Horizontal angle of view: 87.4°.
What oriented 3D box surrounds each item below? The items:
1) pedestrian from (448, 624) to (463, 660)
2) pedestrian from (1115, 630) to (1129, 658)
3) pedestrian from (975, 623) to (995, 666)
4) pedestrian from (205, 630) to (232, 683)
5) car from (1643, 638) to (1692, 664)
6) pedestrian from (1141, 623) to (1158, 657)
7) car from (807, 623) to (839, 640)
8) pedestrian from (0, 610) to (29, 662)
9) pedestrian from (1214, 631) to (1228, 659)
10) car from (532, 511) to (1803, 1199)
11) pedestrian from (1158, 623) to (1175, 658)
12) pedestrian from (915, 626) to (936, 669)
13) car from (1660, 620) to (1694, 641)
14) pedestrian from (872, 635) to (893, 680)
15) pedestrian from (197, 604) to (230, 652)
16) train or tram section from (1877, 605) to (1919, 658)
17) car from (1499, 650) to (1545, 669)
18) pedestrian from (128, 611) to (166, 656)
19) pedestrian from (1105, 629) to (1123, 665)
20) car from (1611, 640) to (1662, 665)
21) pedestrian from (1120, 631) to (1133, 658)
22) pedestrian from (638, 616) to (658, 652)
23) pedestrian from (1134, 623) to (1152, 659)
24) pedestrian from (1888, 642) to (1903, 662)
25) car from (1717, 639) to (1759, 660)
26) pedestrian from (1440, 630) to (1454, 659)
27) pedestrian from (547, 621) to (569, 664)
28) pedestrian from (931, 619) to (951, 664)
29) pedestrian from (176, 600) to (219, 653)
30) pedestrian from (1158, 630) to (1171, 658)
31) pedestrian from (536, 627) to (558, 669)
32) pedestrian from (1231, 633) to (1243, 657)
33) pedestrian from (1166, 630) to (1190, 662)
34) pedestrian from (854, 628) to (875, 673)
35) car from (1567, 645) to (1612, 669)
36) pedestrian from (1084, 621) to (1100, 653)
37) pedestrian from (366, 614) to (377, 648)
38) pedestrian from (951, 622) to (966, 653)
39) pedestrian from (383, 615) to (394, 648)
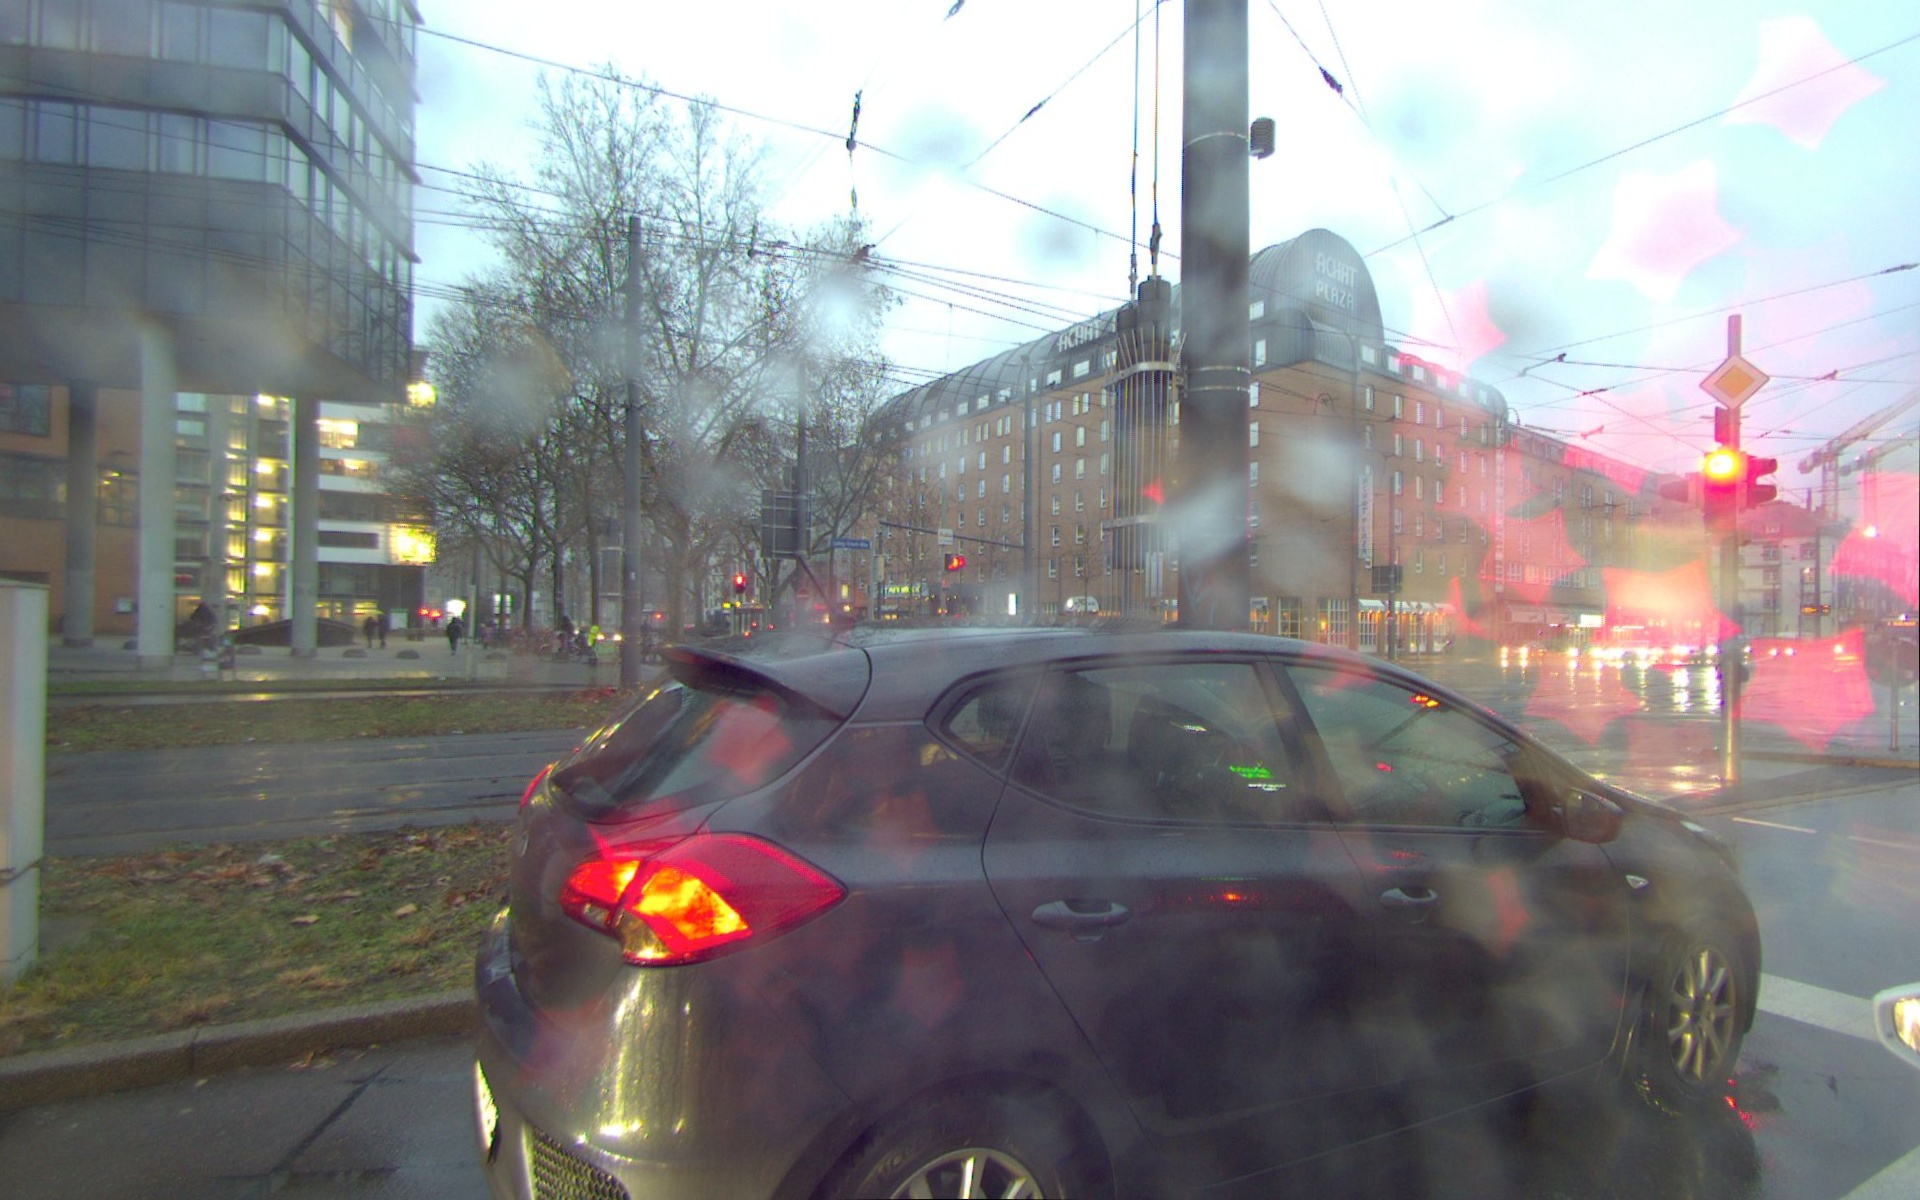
[{"bbox_3d":[-23.733,1.972,47.266,0.556,1.706,0.592,1,-1,-34],"label":"pedestrian"},{"bbox_3d":[9.044,2.446,56.103,0.566,1.558,0.517,1,-1,-21],"label":"pedestrian"},{"bbox_3d":[1.196,2.161,48.426,0.746,2.040,0.798,1,-1,-14],"label":"pedestrian"},{"bbox_3d":[-18.442,1.394,24.989,0.491,1.281,0.442,2,0,-34],"label":"pedestrian"},{"bbox_3d":[50.137,3.607,71.128,4.669,1.732,1.813,2,-2,-41],"label":"car"},{"bbox_3d":[11.409,2.392,60.493,0.746,2.040,0.705,1,-1,-14],"label":"pedestrian"},{"bbox_3d":[-14.862,3.369,109.011,2.085,1.806,3.673,2,-2,-32],"label":"car"},{"bbox_3d":[-27.960,1.060,29.509,0.683,1.523,0.650,1,-1,-21],"label":"pedestrian"},{"bbox_3d":[14.496,2.475,55.722,0.566,1.558,0.517,1,-1,-21],"label":"pedestrian"},{"bbox_3d":[0.766,0.718,3.140,3.715,1.593,1.673,1,-2,-29],"label":"car"},{"bbox_3d":[11.941,2.331,58.028,0.746,2.040,0.705,1,-1,-14],"label":"pedestrian"},{"bbox_3d":[-1.684,2.309,48.931,0.696,2.040,0.757,0,-2,36],"label":"pedestrian"},{"bbox_3d":[73.311,3.123,102.685,3.968,2.040,1.976,2,0,-41],"label":"car"},{"bbox_3d":[-3.584,2.661,46.437,0.750,2.040,0.702,1,-2,-28],"label":"pedestrian"},{"bbox_3d":[-27.263,1.033,36.690,0.681,1.731,0.727,0,-1,-8],"label":"pedestrian"},{"bbox_3d":[70.578,2.367,74.004,12.156,3.637,2.925,2,0,-40],"label":"train or tram section"},{"bbox_3d":[40.788,4.302,72.856,4.194,1.339,1.598,2,-2,-40],"label":"car"},{"bbox_3d":[-31.521,1.293,38.944,0.680,1.731,0.926,0,-1,-1],"label":"pedestrian"},{"bbox_3d":[8.679,2.638,56.675,0.746,2.040,0.705,1,-1,-14],"label":"pedestrian"},{"bbox_3d":[44.592,3.436,66.182,4.166,1.515,1.654,2,-2,-40],"label":"car"},{"bbox_3d":[9.871,2.639,59.673,0.566,1.558,0.517,1,-1,-21],"label":"pedestrian"},{"bbox_3d":[-17.901,1.973,57.652,0.696,2.040,0.757,0,-2,36],"label":"pedestrian"},{"bbox_3d":[10.530,2.360,57.796,0.701,2.040,0.751,2,-2,-36],"label":"pedestrian"},{"bbox_3d":[56.058,3.104,60.217,0.486,1.168,0.575,2,0,-39],"label":"pedestrian"},{"bbox_3d":[53.747,3.431,69.417,3.519,1.372,1.667,2,-1,-41],"label":"car"},{"bbox_3d":[34.924,3.162,72.054,0.919,2.040,0.758,0,-2,27],"label":"pedestrian"},{"bbox_3d":[-16.324,1.729,40.824,0.551,1.706,0.597,0,-1,27],"label":"pedestrian"},{"bbox_3d":[-0.878,1.884,46.093,0.746,2.040,0.705,1,-1,-14],"label":"pedestrian"},{"bbox_3d":[-27.187,0.954,35.828,0.905,1.870,0.774,0,-1,-9],"label":"pedestrian"},{"bbox_3d":[11.586,2.488,56.862,0.566,1.558,0.517,1,-1,-21],"label":"pedestrian"},{"bbox_3d":[-16.863,1.959,41.051,0.551,1.706,0.597,0,-1,27],"label":"pedestrian"},{"bbox_3d":[17.978,2.892,65.169,0.566,1.558,0.517,1,-1,-21],"label":"pedestrian"},{"bbox_3d":[13.254,2.807,61.053,1.144,1.924,0.856,1,-1,-21],"label":"pedestrian"},{"bbox_3d":[-4.379,2.305,46.023,0.750,2.040,0.702,1,-2,-28],"label":"pedestrian"},{"bbox_3d":[42.916,3.856,68.489,3.566,1.515,1.569,2,-2,-40],"label":"car"},{"bbox_3d":[8.364,2.355,63.778,0.712,2.040,0.740,2,-2,-33],"label":"pedestrian"},{"bbox_3d":[-31.071,1.647,53.031,0.441,1.774,0.649,1,-1,-30],"label":"pedestrian"},{"bbox_3d":[-0.073,2.528,67.878,0.712,2.040,0.740,2,-2,-33],"label":"pedestrian"},{"bbox_3d":[-30.470,1.665,53.560,0.441,1.774,0.649,1,-1,-30],"label":"pedestrian"}]
